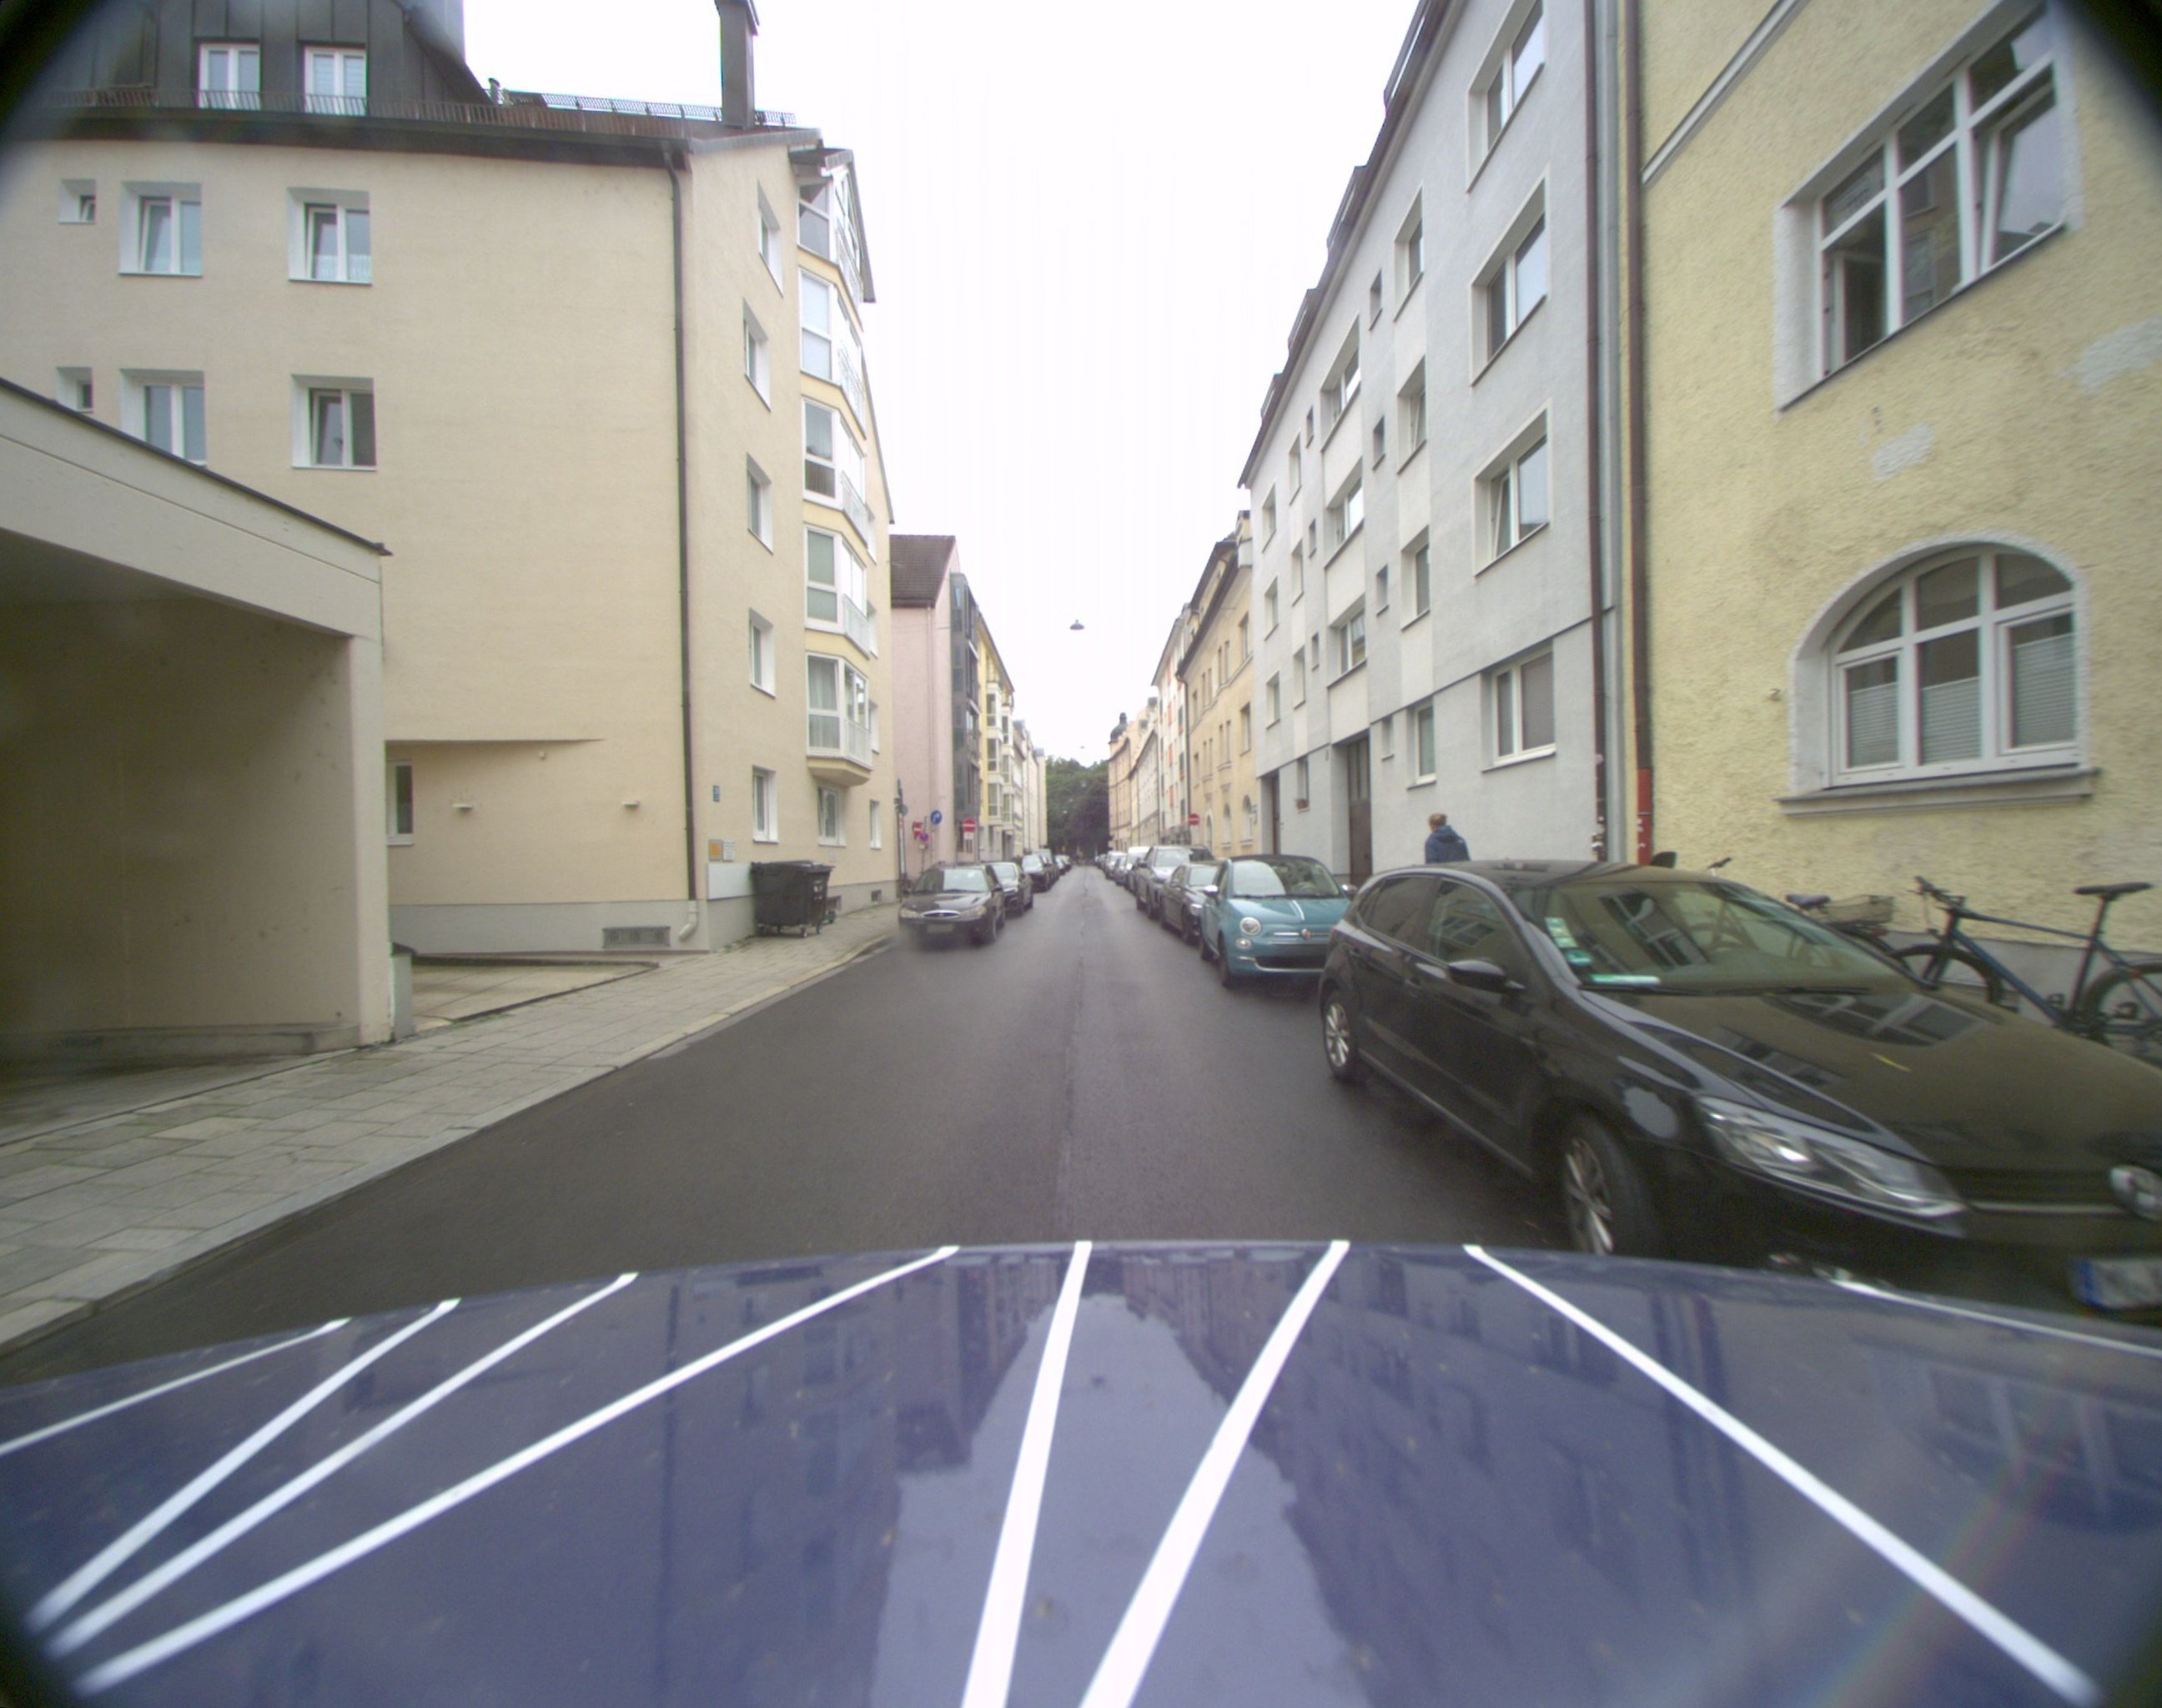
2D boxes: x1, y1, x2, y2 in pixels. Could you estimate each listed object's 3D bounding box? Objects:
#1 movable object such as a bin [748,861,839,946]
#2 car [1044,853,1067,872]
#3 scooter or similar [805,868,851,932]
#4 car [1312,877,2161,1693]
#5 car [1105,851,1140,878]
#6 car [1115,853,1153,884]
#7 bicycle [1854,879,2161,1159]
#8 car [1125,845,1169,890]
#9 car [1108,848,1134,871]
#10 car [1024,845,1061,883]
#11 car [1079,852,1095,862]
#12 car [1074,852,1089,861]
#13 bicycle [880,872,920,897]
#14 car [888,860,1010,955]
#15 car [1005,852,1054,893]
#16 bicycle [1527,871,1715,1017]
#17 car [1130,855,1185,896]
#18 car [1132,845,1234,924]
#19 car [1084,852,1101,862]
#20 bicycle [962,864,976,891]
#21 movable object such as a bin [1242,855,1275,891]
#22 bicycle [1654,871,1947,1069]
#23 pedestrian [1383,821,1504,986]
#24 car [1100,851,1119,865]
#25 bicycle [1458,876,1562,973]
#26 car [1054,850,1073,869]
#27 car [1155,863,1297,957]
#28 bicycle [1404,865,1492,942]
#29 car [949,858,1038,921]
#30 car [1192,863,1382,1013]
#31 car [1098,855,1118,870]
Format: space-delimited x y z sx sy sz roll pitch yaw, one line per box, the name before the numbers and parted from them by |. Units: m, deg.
movable object such as a bin | -5.188 0.858 13.848 1.035 1.415 1.586 1 1 1
car | -2.156 0.711 63.156 1.749 1.433 4.227 -3 0 -4
scooter or similar | -5.287 0.938 15.943 0.577 1.259 1.136 0 1 0
car | 2.396 0.906 3.374 1.567 1.452 3.763 -1 0 -1
car | 2.570 0.630 48.204 1.786 1.596 4.307 1 0 -3
car | 2.643 0.688 38.498 1.676 1.467 4.112 1 0 1
bicycle | 5.311 0.792 4.053 0.594 1.226 1.736 -2 1 0
car | 2.830 0.542 33.325 1.728 1.779 4.248 1 1 2
car | 3.256 0.438 63.107 1.951 1.850 4.908 1 0 0
car | -2.196 0.538 44.633 1.878 2.002 5.105 -3 1 0
car | 0.924 0.412 120.593 1.800 1.501 3.996 1 0 -11
car | 0.074 0.406 124.691 1.800 1.501 3.996 1 0 -11
bicycle | -7.203 1.195 30.238 1.452 0.942 0.552 -1 0 -4
car | -2.432 0.915 15.086 1.721 1.463 4.530 -3 1 -2
car | -2.203 0.778 33.880 1.837 1.612 4.410 -3 1 0
bicycle | 5.306 0.817 7.610 0.638 1.226 1.736 -2 1 0
car | 2.744 0.766 28.092 1.656 1.403 3.735 1 0 0
car | 2.450 0.667 19.387 1.867 1.759 4.734 1 1 -1
car | 1.705 0.459 116.399 1.800 1.501 3.996 1 0 -11
bicycle | -4.906 1.021 33.351 0.358 1.115 1.543 -1 0 1
movable object such as a bin | 5.612 0.603 24.091 0.809 1.045 0.623 -5 1 0
bicycle | 5.369 0.780 5.844 0.594 1.226 1.736 -2 1 0
pedestrian | 4.149 0.536 8.789 0.841 1.754 1.068 -2 1 0
car | 3.123 0.462 83.113 1.951 1.470 3.716 1 0 0
bicycle | 5.274 0.829 9.434 0.396 1.025 1.570 -2 1 0
car | -1.776 0.550 78.024 1.739 1.743 3.685 -3 0 0
car | 2.541 0.932 14.323 1.816 1.378 4.250 1 1 -1
bicycle | 5.441 0.698 11.362 0.546 1.025 1.570 -2 1 0
car | -2.249 0.877 20.641 1.837 1.398 4.410 -3 1 0
car | 2.346 0.882 9.444 1.566 1.452 3.404 -1 0 2
car | 2.716 0.855 77.513 1.951 1.470 3.716 1 0 0
